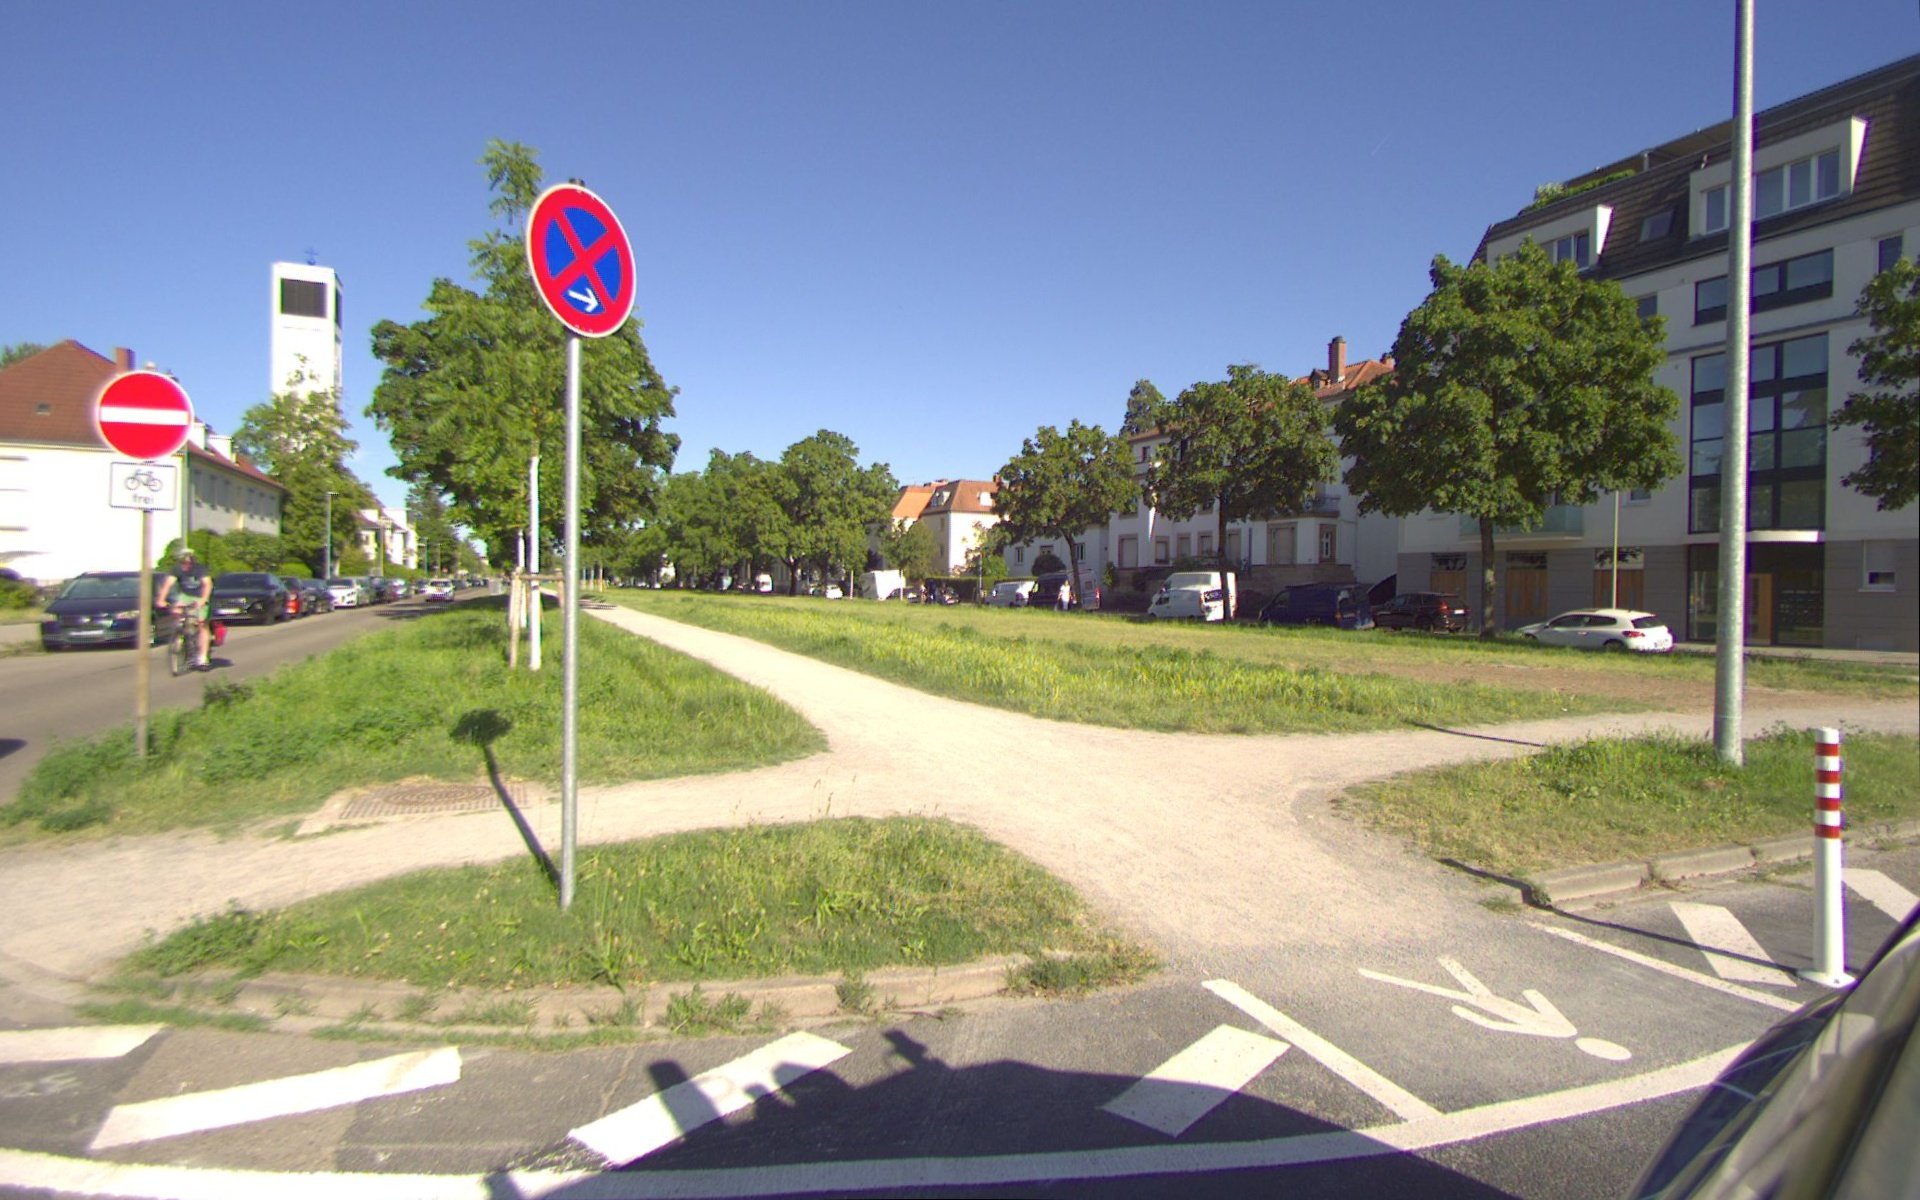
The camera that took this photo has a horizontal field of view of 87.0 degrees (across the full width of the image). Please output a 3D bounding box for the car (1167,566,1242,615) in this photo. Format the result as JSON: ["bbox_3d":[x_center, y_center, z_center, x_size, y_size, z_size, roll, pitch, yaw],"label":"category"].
[{"bbox_3d":[13.198,-0.556,54.823,1.981,2.580,4.003,-1,2,-23],"label":"car"}]

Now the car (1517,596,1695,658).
[{"bbox_3d":[18.322,0.705,28.912,1.704,1.450,4.002,-4,3,-24],"label":"car"}]

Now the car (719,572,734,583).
[{"bbox_3d":[-41.464,-3.986,179.539,1.827,1.868,4.003,1,1,-23],"label":"car"}]

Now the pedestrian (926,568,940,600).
[{"bbox_3d":[-1.617,-0.967,60.728,0.631,1.900,0.630,1,1,-25],"label":"pedestrian"}]

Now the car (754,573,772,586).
[{"bbox_3d":[-29.980,-3.151,153.726,1.827,1.868,4.003,1,1,-23],"label":"car"}]

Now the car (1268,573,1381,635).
[{"bbox_3d":[13.819,0.091,38.595,1.748,2.109,4.003,-4,3,-23],"label":"car"}]

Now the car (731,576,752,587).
[{"bbox_3d":[-30.797,-2.612,142.611,2.038,1.484,4.737,1,1,-23],"label":"car"}]

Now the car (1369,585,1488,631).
[{"bbox_3d":[19.082,0.273,41.431,1.857,1.703,4.298,-1,2,-23],"label":"car"}]

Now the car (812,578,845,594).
[{"bbox_3d":[-13.145,-1.415,100.769,2.038,1.484,4.737,1,1,-23],"label":"car"}]

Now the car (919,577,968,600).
[{"bbox_3d":[-1.236,-0.854,73.581,2.042,1.618,4.297,1,1,-23],"label":"car"}]

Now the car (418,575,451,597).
[{"bbox_3d":[-34.328,-0.944,66.161,1.686,1.358,3.817,1,1,-24],"label":"car"}]

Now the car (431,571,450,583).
[{"bbox_3d":[-59.823,-2.630,116.670,1.686,1.358,3.817,1,1,-24],"label":"car"}]

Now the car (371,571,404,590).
[{"bbox_3d":[-42.249,-1.436,74.741,1.686,1.358,3.817,1,1,-24],"label":"car"}]

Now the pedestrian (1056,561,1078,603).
[{"bbox_3d":[4.818,-0.806,45.518,0.709,1.900,0.630,1,1,-25],"label":"pedestrian"}]

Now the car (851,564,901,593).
[{"bbox_3d":[-7.198,-1.836,86.332,2.498,2.363,5.932,1,1,-23],"label":"car"}]

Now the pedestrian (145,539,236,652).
[{"bbox_3d":[-12.157,-0.074,16.026,1.033,1.731,0.694,1,1,-28],"label":"pedestrian"}]

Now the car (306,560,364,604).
[{"bbox_3d":[-30.545,-0.884,49.571,1.833,2.039,4.264,1,1,-24],"label":"car"}]

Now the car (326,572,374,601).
[{"bbox_3d":[-32.643,-0.747,54.223,1.686,1.517,3.817,1,1,-24],"label":"car"}]

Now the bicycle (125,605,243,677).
[{"bbox_3d":[-12.079,0.591,15.865,1.033,0.949,2.768,1,1,-29],"label":"bicycle"}]

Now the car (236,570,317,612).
[{"bbox_3d":[-24.828,-0.357,36.885,1.686,1.460,4.149,1,1,-24],"label":"car"}]

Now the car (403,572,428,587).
[{"bbox_3d":[-51.393,-1.906,95.563,1.686,1.358,3.817,1,1,-24],"label":"car"}]

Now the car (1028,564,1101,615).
[{"bbox_3d":[5.829,-0.642,56.974,2.148,2.615,4.297,-4,3,-23],"label":"car"}]

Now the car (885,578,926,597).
[{"bbox_3d":[-4.356,-1.007,80.367,1.894,1.361,4.118,1,1,-23],"label":"car"}]

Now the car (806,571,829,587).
[{"bbox_3d":[-17.582,-2.592,124.543,1.827,1.868,4.003,1,1,-23],"label":"car"}]

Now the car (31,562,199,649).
[{"bbox_3d":[-17.989,0.057,21.768,1.686,1.685,4.072,1,1,-24],"label":"car"}]

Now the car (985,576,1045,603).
[{"bbox_3d":[3.412,-0.675,63.289,2.042,1.618,4.297,1,1,-23],"label":"car"}]

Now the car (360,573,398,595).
[{"bbox_3d":[-37.087,-1.034,64.663,1.686,1.358,3.817,1,1,-24],"label":"car"}]

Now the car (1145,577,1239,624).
[{"bbox_3d":[10.521,-0.023,46.208,1.838,1.906,4.433,-4,3,-23],"label":"car"}]

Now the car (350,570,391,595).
[{"bbox_3d":[-34.863,-1.054,59.932,1.686,1.358,3.817,1,1,-24],"label":"car"}]

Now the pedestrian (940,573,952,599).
[{"bbox_3d":[-0.839,-0.854,60.744,0.486,1.524,0.536,1,1,-24],"label":"pedestrian"}]

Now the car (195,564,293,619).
[{"bbox_3d":[-22.335,-0.304,31.721,1.686,1.603,4.149,1,1,-24],"label":"car"}]

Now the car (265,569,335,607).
[{"bbox_3d":[-26.727,-0.511,41.084,1.686,1.460,4.149,1,1,-24],"label":"car"}]
